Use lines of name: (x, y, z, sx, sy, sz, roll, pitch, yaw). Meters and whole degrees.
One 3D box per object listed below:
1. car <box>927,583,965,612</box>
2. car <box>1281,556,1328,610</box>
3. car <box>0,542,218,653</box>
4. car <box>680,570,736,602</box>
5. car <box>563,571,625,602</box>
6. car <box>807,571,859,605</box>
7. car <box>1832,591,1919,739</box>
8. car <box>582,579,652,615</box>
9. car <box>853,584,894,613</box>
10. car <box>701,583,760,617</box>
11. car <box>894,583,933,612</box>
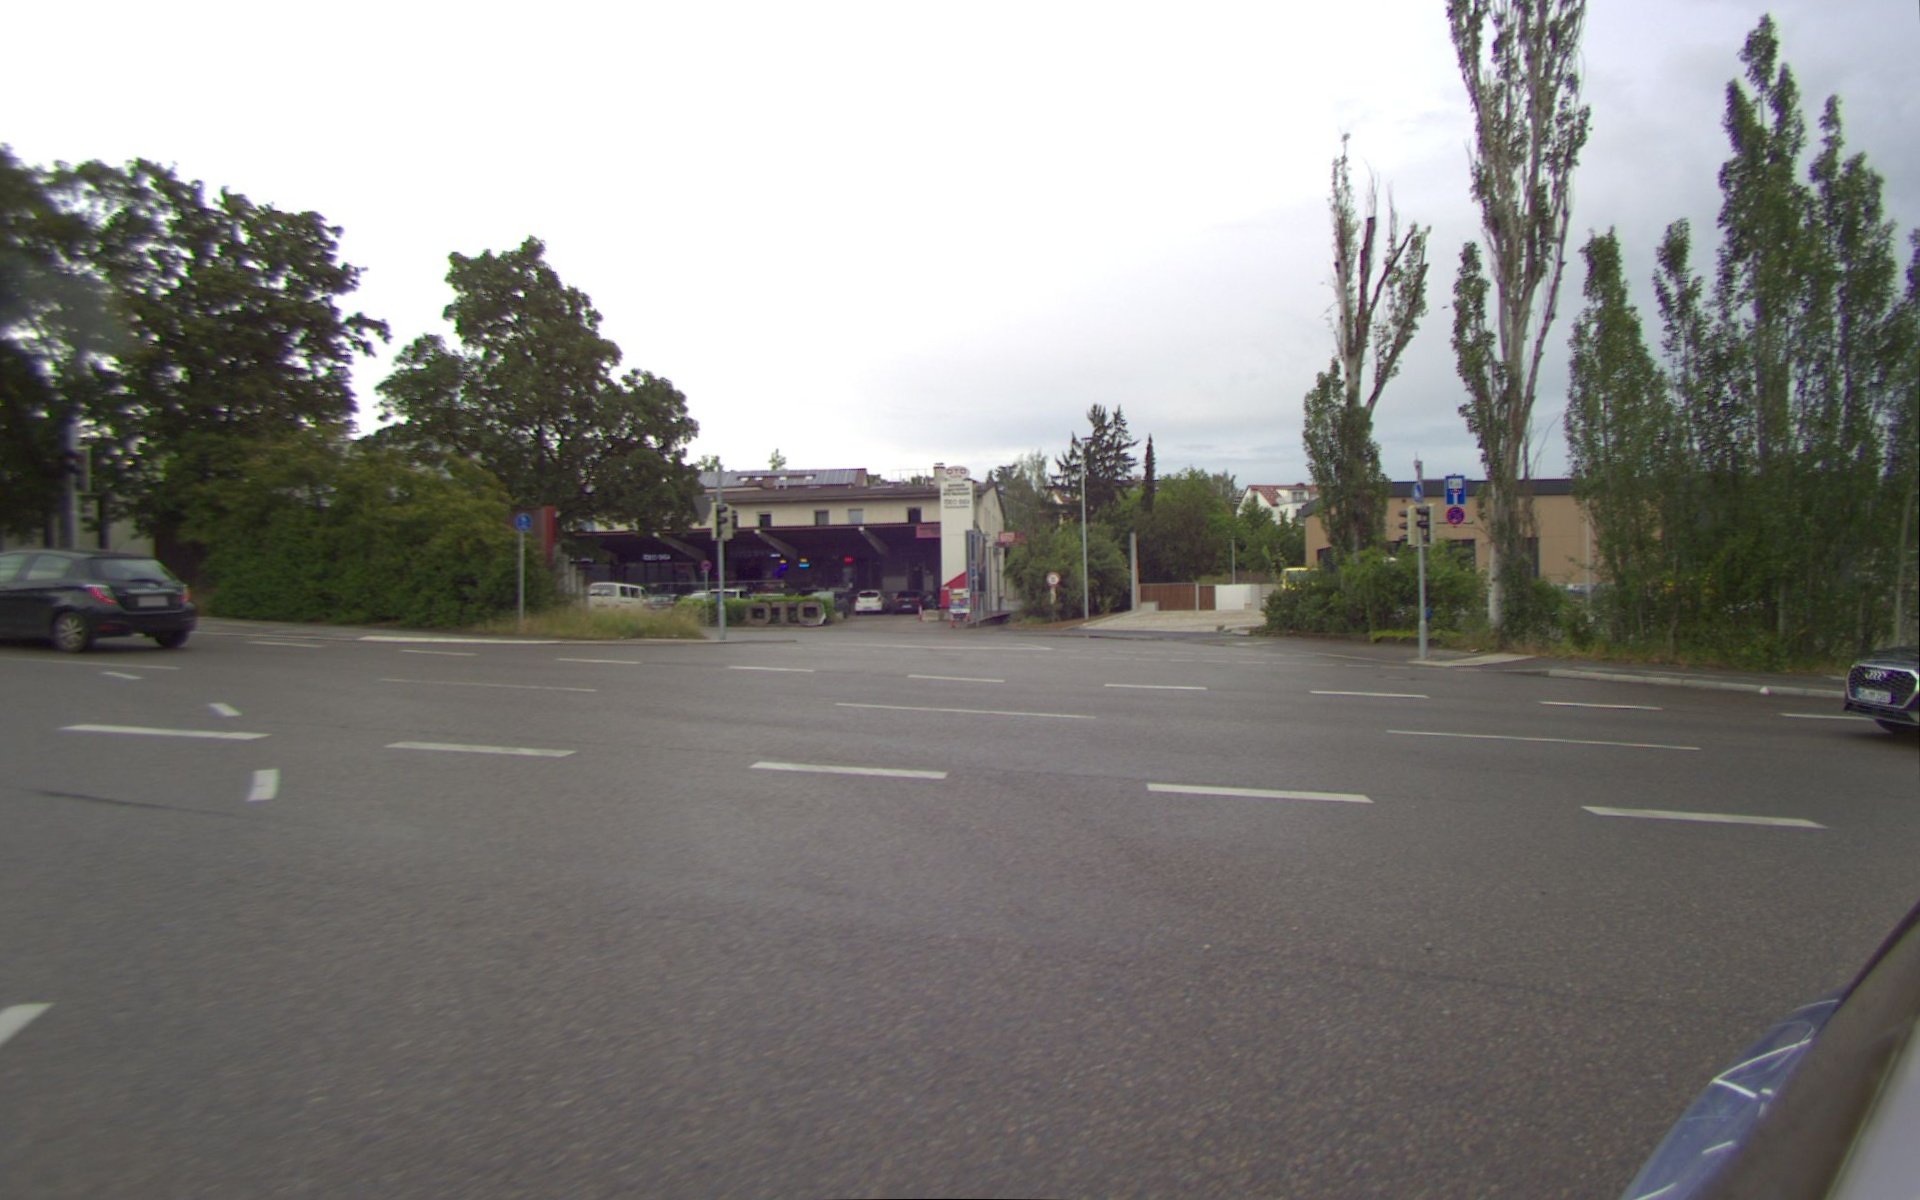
car: (-0.823, -0.175, 61.592, 1.717, 1.671, 3.992, 2, 1, 7)
car: (16.003, -0.776, 47.193, 1.722, 2.344, 5.197, 2, 1, 15)
car: (-13.715, -0.090, 15.457, 3.765, 1.518, 1.721, 2, 1, 10)
car: (-14.122, -0.806, 56.971, 1.717, 1.671, 3.992, 2, 1, 7)
car: (-20.986, -0.782, 58.140, 1.717, 1.671, 3.992, 2, 1, 7)
car: (-6.634, -0.646, 53.223, 1.717, 1.671, 3.992, 2, 1, 7)
car: (12.649, 0.755, 10.323, 5.446, 1.518, 1.835, 2, 1, 10)
car: (-16.897, -0.168, 50.058, 1.717, 1.671, 3.992, 2, 1, 7)
car: (-5.353, -0.148, 62.734, 1.717, 1.671, 3.992, 2, 1, 7)
car: (-11.953, -0.042, 52.882, 1.717, 1.671, 3.992, 2, 1, 7)
car: (-2.837, -0.200, 62.110, 1.717, 1.671, 3.992, 2, 1, 7)
